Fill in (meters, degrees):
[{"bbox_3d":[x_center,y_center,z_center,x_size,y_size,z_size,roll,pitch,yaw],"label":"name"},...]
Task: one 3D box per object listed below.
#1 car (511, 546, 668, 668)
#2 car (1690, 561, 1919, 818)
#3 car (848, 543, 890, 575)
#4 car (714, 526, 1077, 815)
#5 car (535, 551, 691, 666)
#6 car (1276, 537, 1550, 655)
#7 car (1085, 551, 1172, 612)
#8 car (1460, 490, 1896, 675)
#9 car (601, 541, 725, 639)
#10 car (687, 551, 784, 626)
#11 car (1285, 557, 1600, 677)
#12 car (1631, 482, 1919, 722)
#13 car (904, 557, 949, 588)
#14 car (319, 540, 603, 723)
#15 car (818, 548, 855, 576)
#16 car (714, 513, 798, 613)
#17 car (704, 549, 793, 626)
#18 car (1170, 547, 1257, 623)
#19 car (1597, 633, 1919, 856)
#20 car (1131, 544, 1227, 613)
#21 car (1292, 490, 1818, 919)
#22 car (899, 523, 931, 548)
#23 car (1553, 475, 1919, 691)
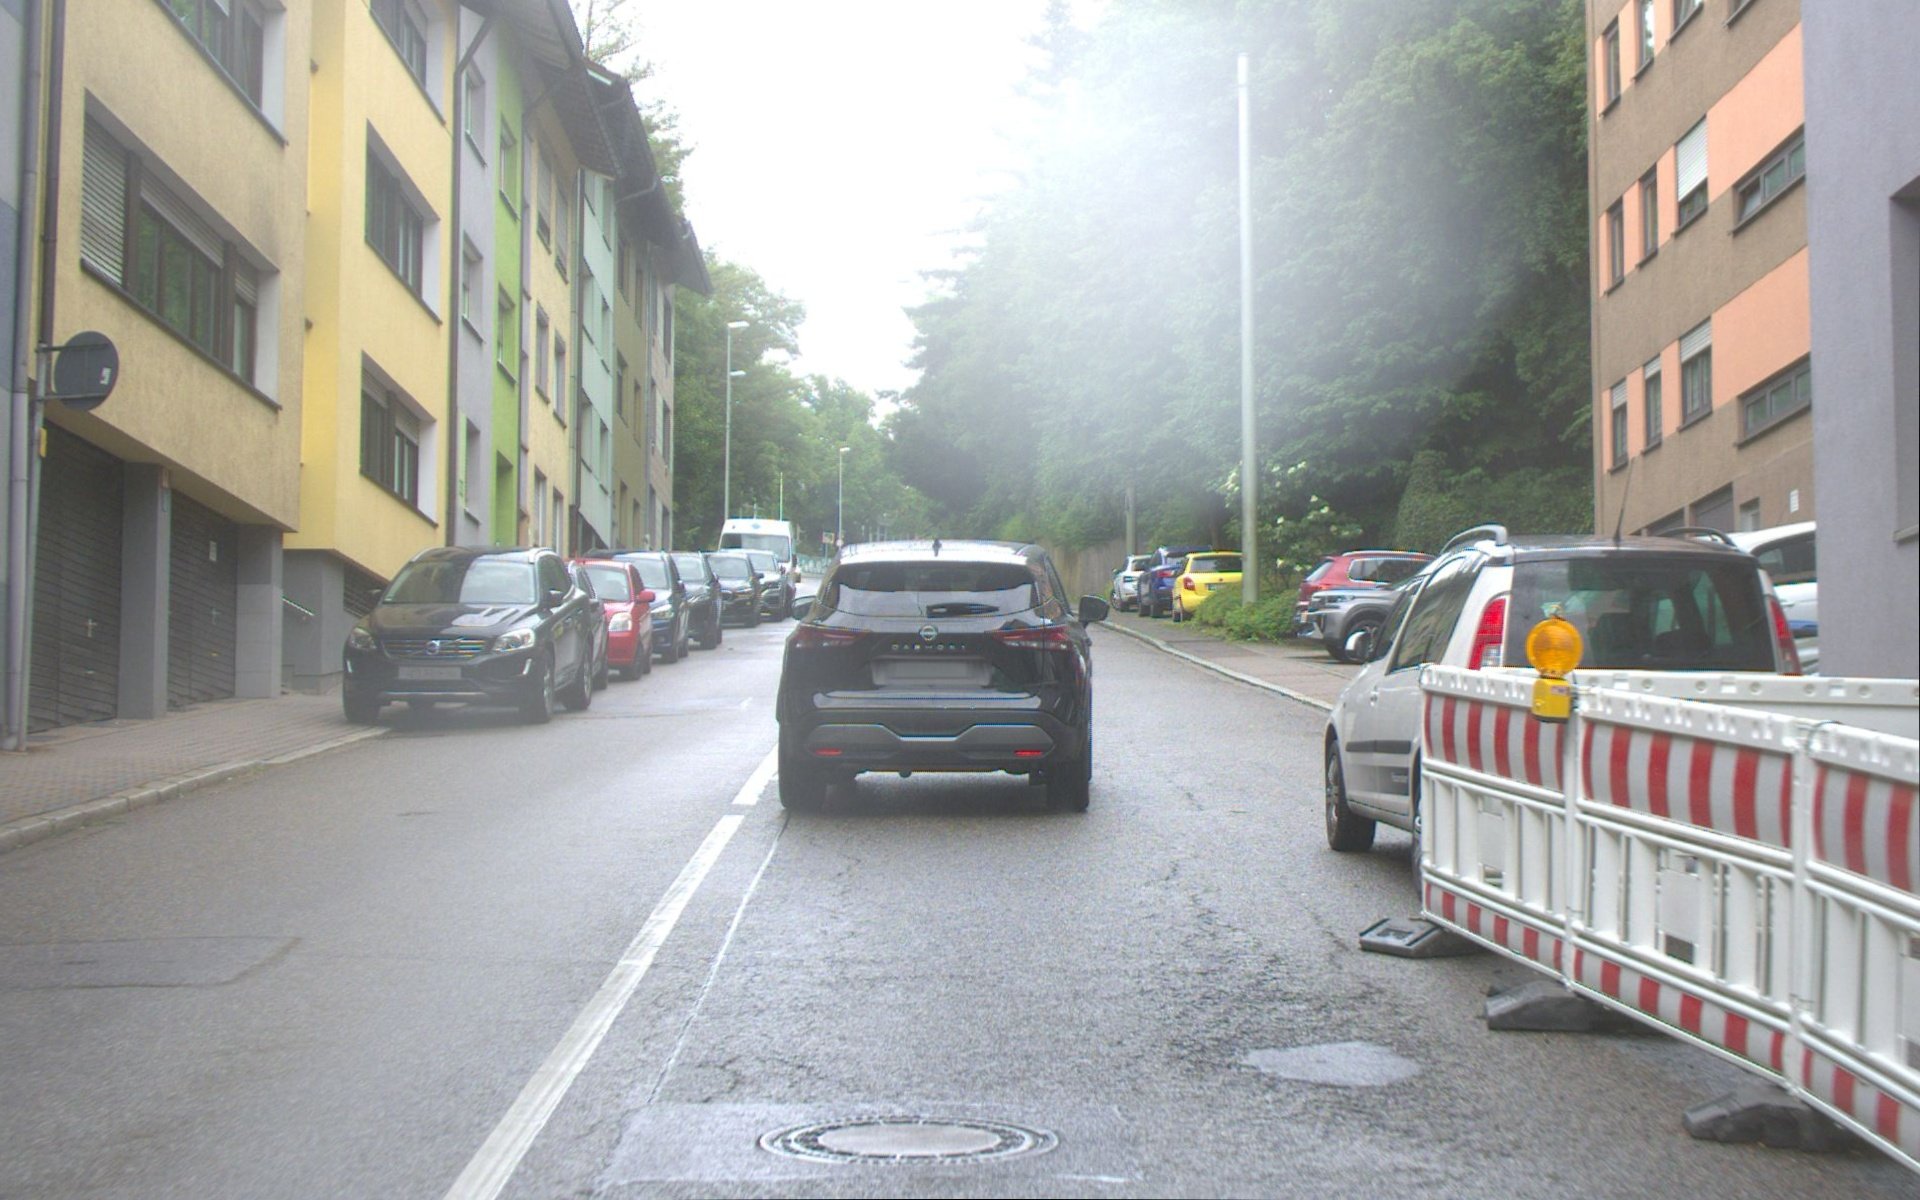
[{"bbox_3d":[-4.679,0.057,43.745,1.728,1.467,3.491,0,1,-2],"label":"car"},{"bbox_3d":[6.717,0.524,21.751,3.802,1.545,1.660,0,1,-2],"label":"car"},{"bbox_3d":[-4.611,-2.070,173.693,2.074,1.554,4.000,1,1,-2],"label":"car"},{"bbox_3d":[-0.392,0.354,21.315,1.993,1.554,4.000,2,1,-1],"label":"car"},{"bbox_3d":[-5.056,0.089,50.634,1.993,1.579,4.472,0,1,-2],"label":"car"},{"bbox_3d":[7.576,-0.074,57.693,4.197,1.728,1.760,3,1,-4],"label":"car"},{"bbox_3d":[4.407,-0.496,90.493,1.810,1.525,4.418,-2,1,-3],"label":"car"},{"bbox_3d":[7.336,-0.186,35.343,3.961,1.524,1.693,-5,1,-4],"label":"car"},{"bbox_3d":[-4.967,-0.199,57.908,1.853,1.579,4.305,0,1,-2],"label":"car"},{"bbox_3d":[-4.912,-0.274,75.645,1.990,1.579,4.305,0,1,-2],"label":"car"},{"bbox_3d":[6.971,0.232,49.898,4.197,1.491,1.760,3,1,-3],"label":"car"},{"bbox_3d":[7.645,-0.085,28.047,3.826,1.696,1.729,-6,1,-2],"label":"car"},{"bbox_3d":[-1.741,-1.427,177.059,2.074,1.554,4.001,1,1,-4],"label":"car"},{"bbox_3d":[-4.742,0.243,33.297,1.993,1.644,4.441,0,1,1],"label":"car"},{"bbox_3d":[-7.103,-2.186,197.576,2.074,1.554,4.000,1,1,-2],"label":"car"},{"bbox_3d":[-5.199,-0.975,88.305,1.990,2.466,5.785,0,1,-2],"label":"car"},{"bbox_3d":[-4.979,-0.323,81.450,1.990,1.749,4.480,0,1,-2],"label":"car"},{"bbox_3d":[5.371,-0.344,73.237,1.633,1.525,4.000,2,1,2],"label":"car"},{"bbox_3d":[6.810,0.989,24.180,4.267,1.461,1.894,0,1,-2],"label":"car"},{"bbox_3d":[5.082,-0.519,80.200,1.811,1.525,4.417,-2,1,-1],"label":"car"},{"bbox_3d":[2.707,0.394,16.517,1.640,1.756,4.001,2,1,-2],"label":"car"},{"bbox_3d":[-3.036,-4.376,233.163,1.993,1.554,4.000,0,-1,1],"label":"car"},{"bbox_3d":[7.676,-0.233,30.485,4.341,1.524,1.877,-6,1,-2],"label":"car"}]
